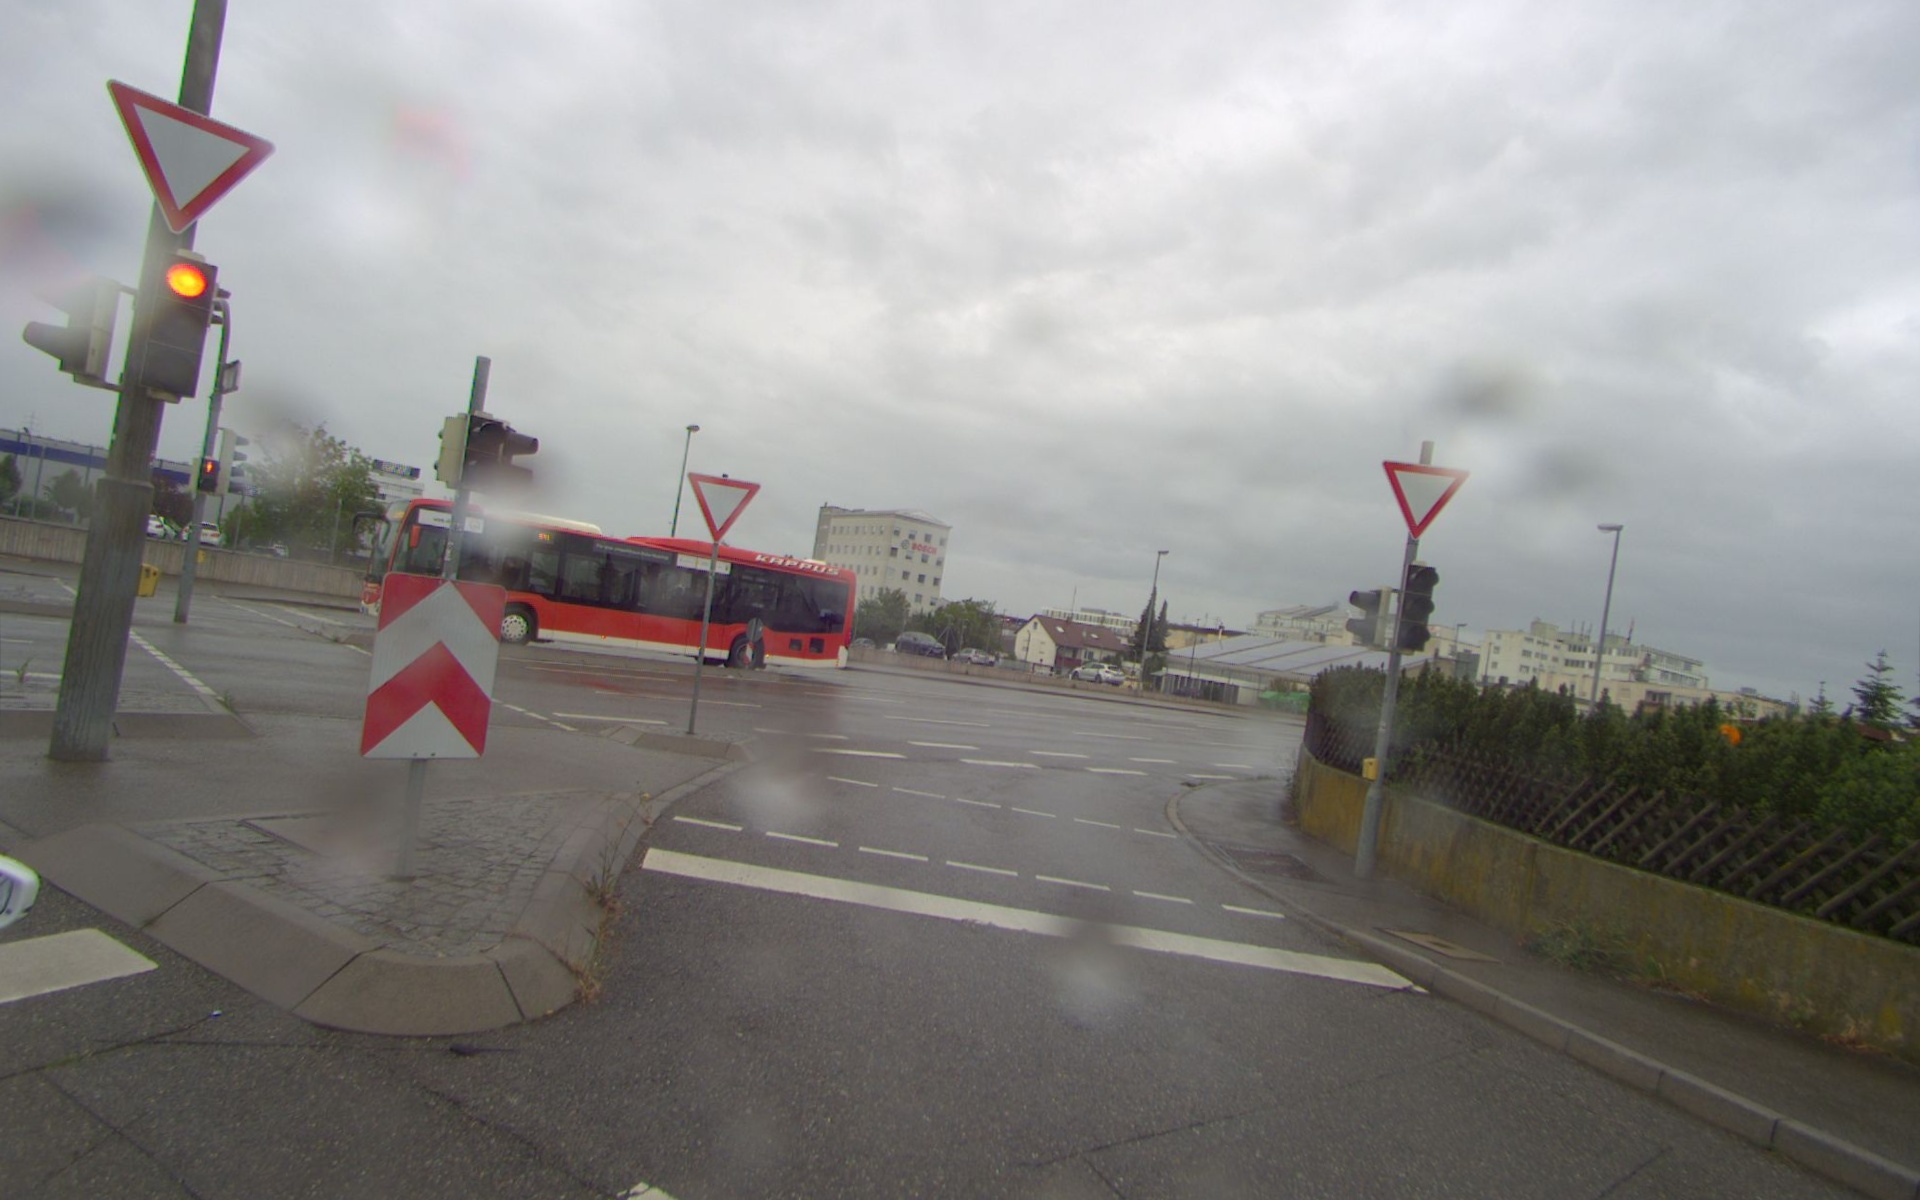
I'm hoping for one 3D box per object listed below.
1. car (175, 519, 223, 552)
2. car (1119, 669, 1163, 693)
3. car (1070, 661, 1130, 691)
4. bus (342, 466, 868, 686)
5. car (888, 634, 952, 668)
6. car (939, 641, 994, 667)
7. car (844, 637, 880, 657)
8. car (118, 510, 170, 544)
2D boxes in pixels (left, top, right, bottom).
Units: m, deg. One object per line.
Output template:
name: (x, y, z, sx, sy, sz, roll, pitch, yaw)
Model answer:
car: (-43.915, -3.744, 58.015, 1.986, 1.495, 3.958, 10, -2, -38)
car: (17.974, 8.058, 100.003, 3.760, 1.771, 1.887, 9, -2, -29)
car: (9.721, 5.285, 70.048, 1.979, 1.494, 3.971, 9, -2, -29)
bus: (-8.377, -0.252, 25.872, 12.244, 3.357, 3.040, 12, -3, -41)
car: (-2.488, 3.127, 61.949, 1.983, 1.494, 3.964, 9, -2, -34)
car: (0.525, 4.416, 82.218, 3.951, 1.494, 1.989, 9, -2, -24)
car: (-9.839, 4.694, 100.616, 1.979, 1.494, 3.971, 9, -2, -29)
car: (-45.634, -4.070, 56.346, 1.985, 1.495, 3.959, 10, -2, -38)
